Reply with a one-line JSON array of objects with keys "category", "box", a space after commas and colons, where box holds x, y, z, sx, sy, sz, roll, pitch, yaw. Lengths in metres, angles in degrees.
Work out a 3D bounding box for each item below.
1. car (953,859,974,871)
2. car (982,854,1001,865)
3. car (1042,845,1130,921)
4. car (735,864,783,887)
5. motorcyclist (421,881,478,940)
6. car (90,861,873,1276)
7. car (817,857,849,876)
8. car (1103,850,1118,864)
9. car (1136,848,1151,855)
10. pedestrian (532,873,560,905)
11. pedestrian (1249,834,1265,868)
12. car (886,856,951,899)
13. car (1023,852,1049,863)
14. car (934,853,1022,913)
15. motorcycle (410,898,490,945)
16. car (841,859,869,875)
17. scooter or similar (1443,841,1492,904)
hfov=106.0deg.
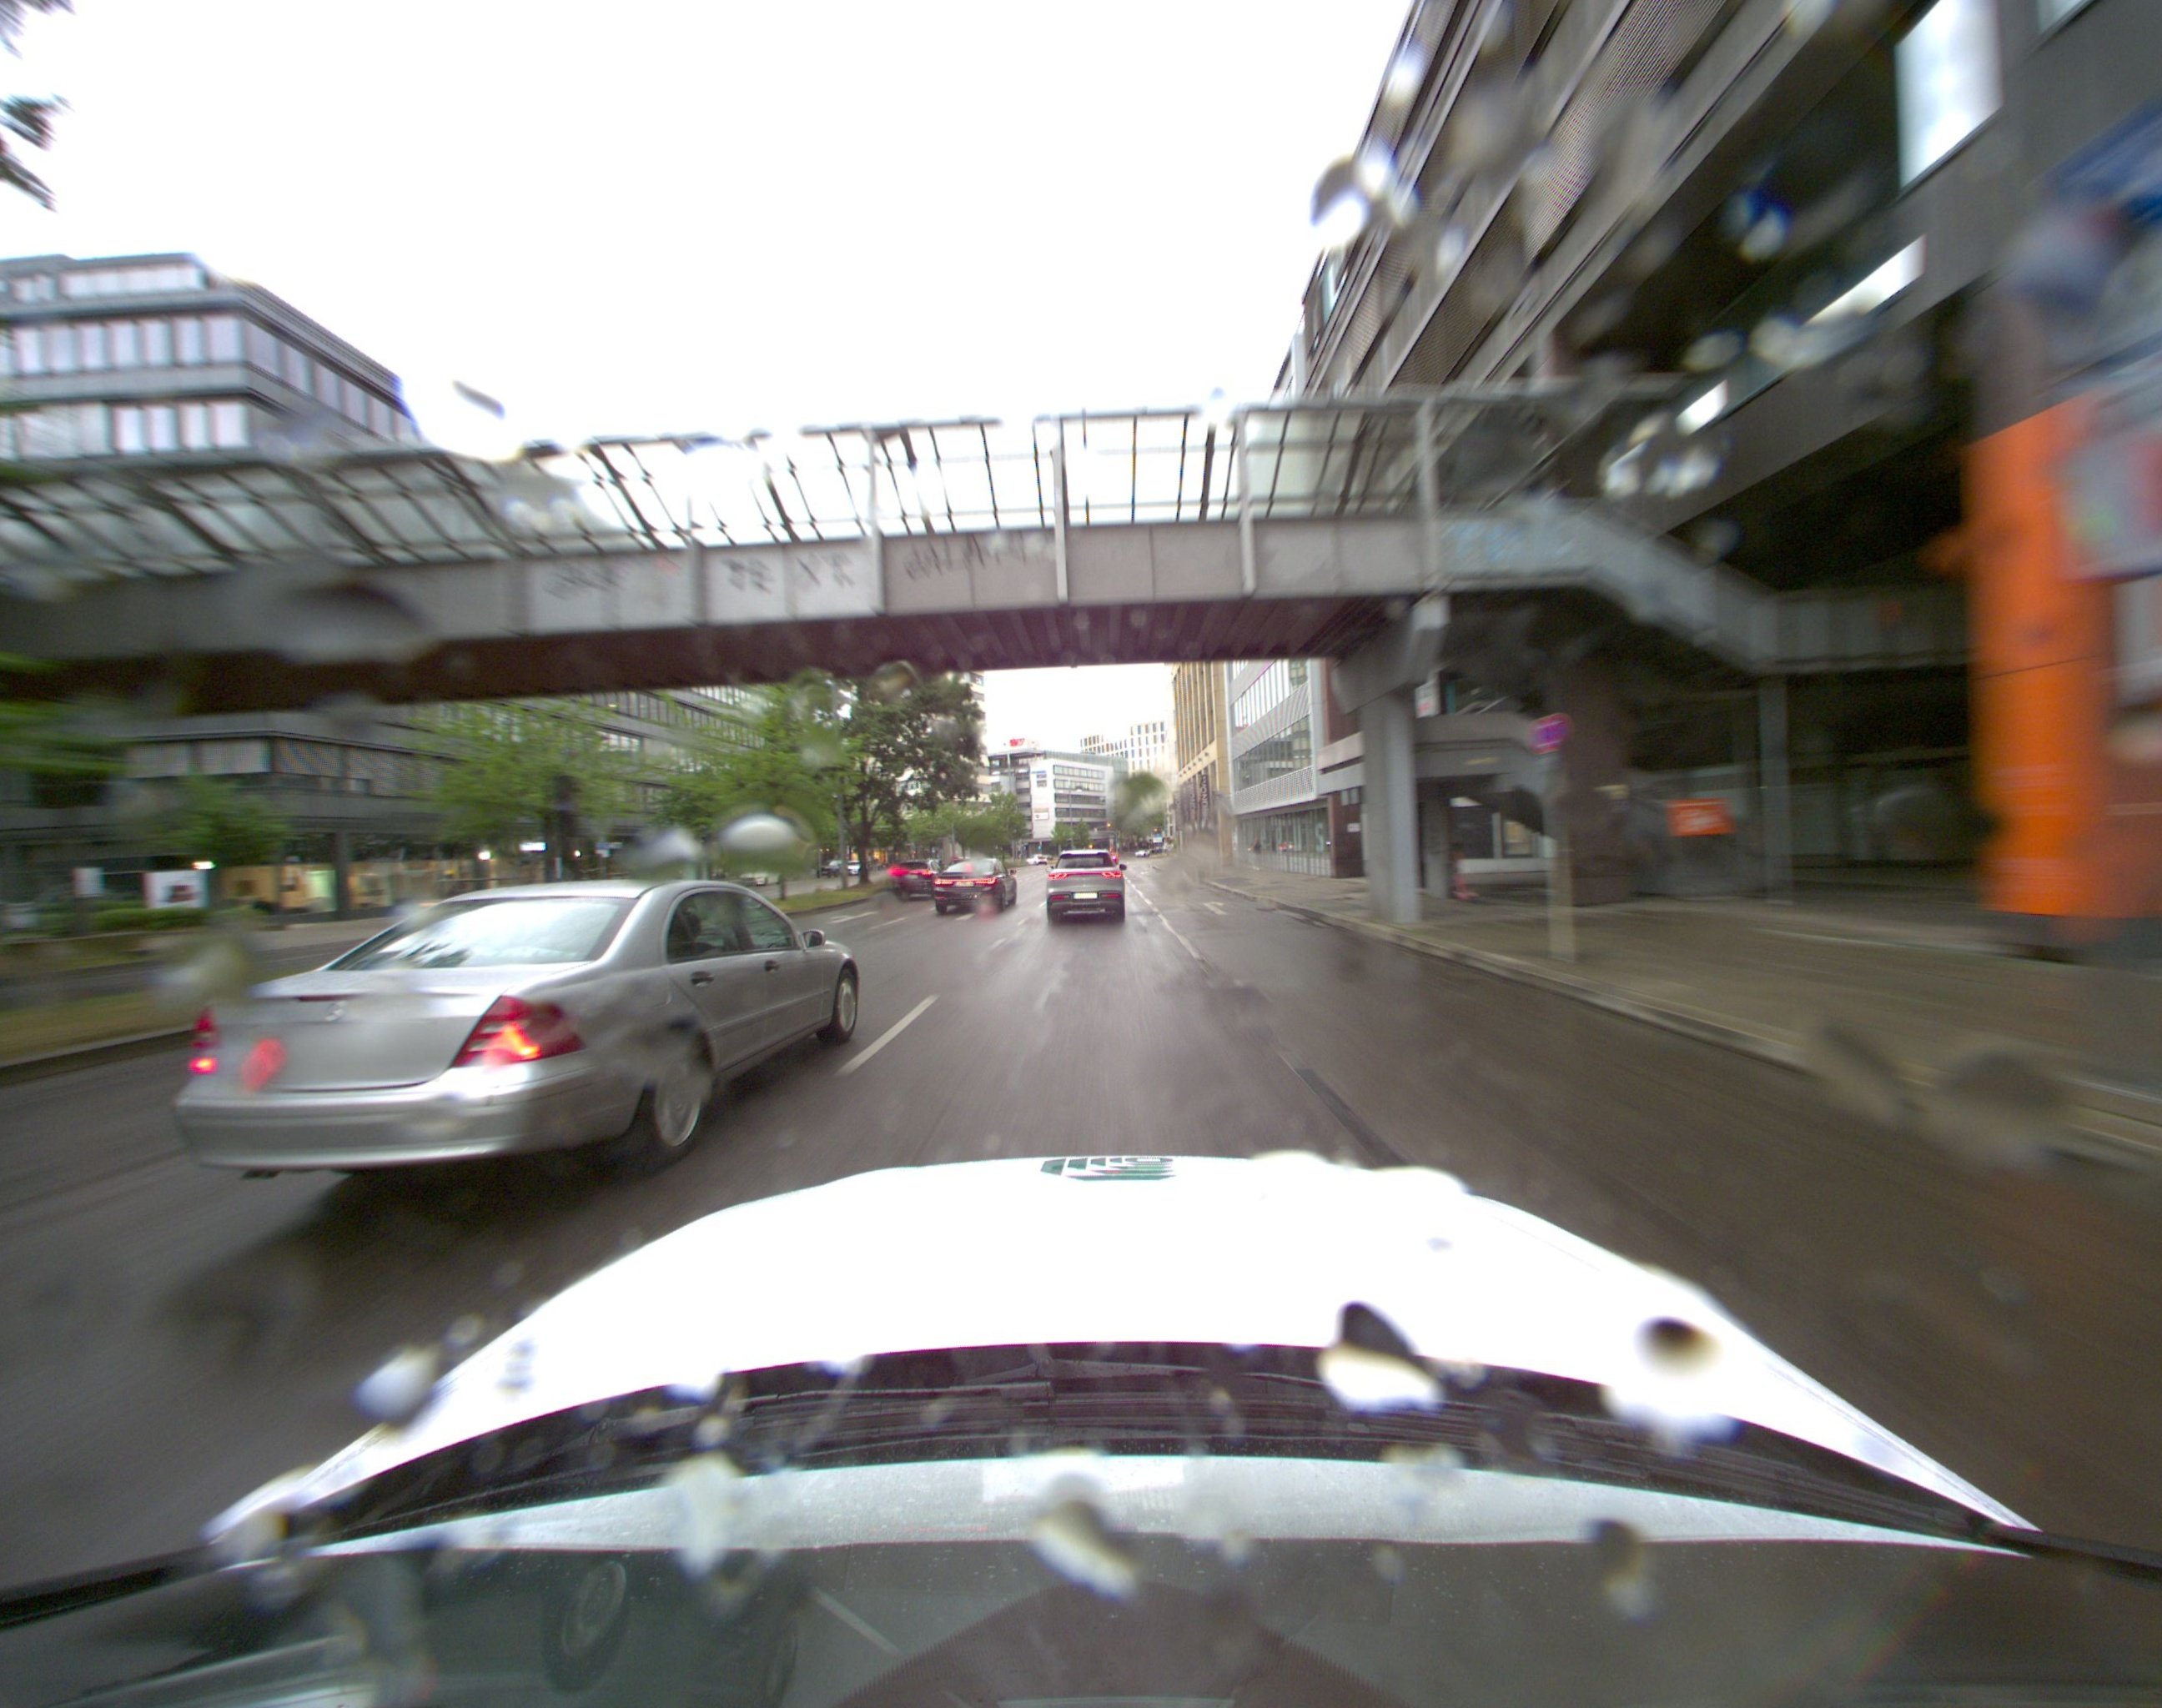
[{"category": "car", "box": [-15.240, 1.399, 105.963, 1.615, 1.492, 4.313, -3, 0, 6]}, {"category": "car", "box": [-13.197, 0.770, 120.461, 1.614, 1.453, 4.173, -3, 0, 9]}, {"category": "car", "box": [0.155, 0.636, 19.970, 1.894, 1.621, 4.001, -2, 0, 1]}, {"category": "car", "box": [-22.854, 1.495, 58.002, 1.618, 1.432, 4.444, -3, 0, 0]}, {"category": "motorcyclist", "box": [-16.351, 1.449, 21.118, 0.635, 1.418, 0.970, -3, -1, 1]}, {"category": "car", "box": [-2.813, 0.823, 5.232, 1.666, 1.479, 4.362, -2, 0, 2]}, {"category": "car", "box": [-22.723, 1.138, 74.715, 1.618, 1.611, 4.231, -2, 0, 0]}, {"category": "car", "box": [3.645, 0.370, 100.795, 1.805, 1.578, 4.001, -2, 0, 1]}, {"category": "car", "box": [13.701, -0.526, 179.657, 1.565, 1.538, 4.026, -2, 0, 32]}, {"category": "pedestrian", "box": [-29.803, 1.955, 45.399, 0.740, 1.715, 1.057, -3, 0, 0]}, {"category": "pedestrian", "box": [9.520, -0.175, 44.099, 0.633, 1.772, 0.790, -3, -1, 1]}, {"category": "car", "box": [-6.132, 0.863, 31.145, 1.770, 1.457, 3.996, -3, 0, -2]}, {"category": "car", "box": [-6.365, 0.520, 114.333, 1.667, 1.342, 3.954, -3, 0, -38]}, {"category": "car", "box": [-2.901, 0.773, 24.036, 1.866, 1.479, 4.879, -1, 1, 1]}, {"category": "motorcycle", "box": [-16.326, 1.732, 21.123, 0.582, 1.021, 1.806, -3, 0, 2]}, {"category": "car", "box": [-22.398, 1.287, 80.795, 1.618, 1.460, 3.962, -2, 0, 0]}, {"category": "scooter or similar", "box": [8.056, 0.366, 17.014, 0.348, 1.255, 1.395, -3, 0, 1]}]
